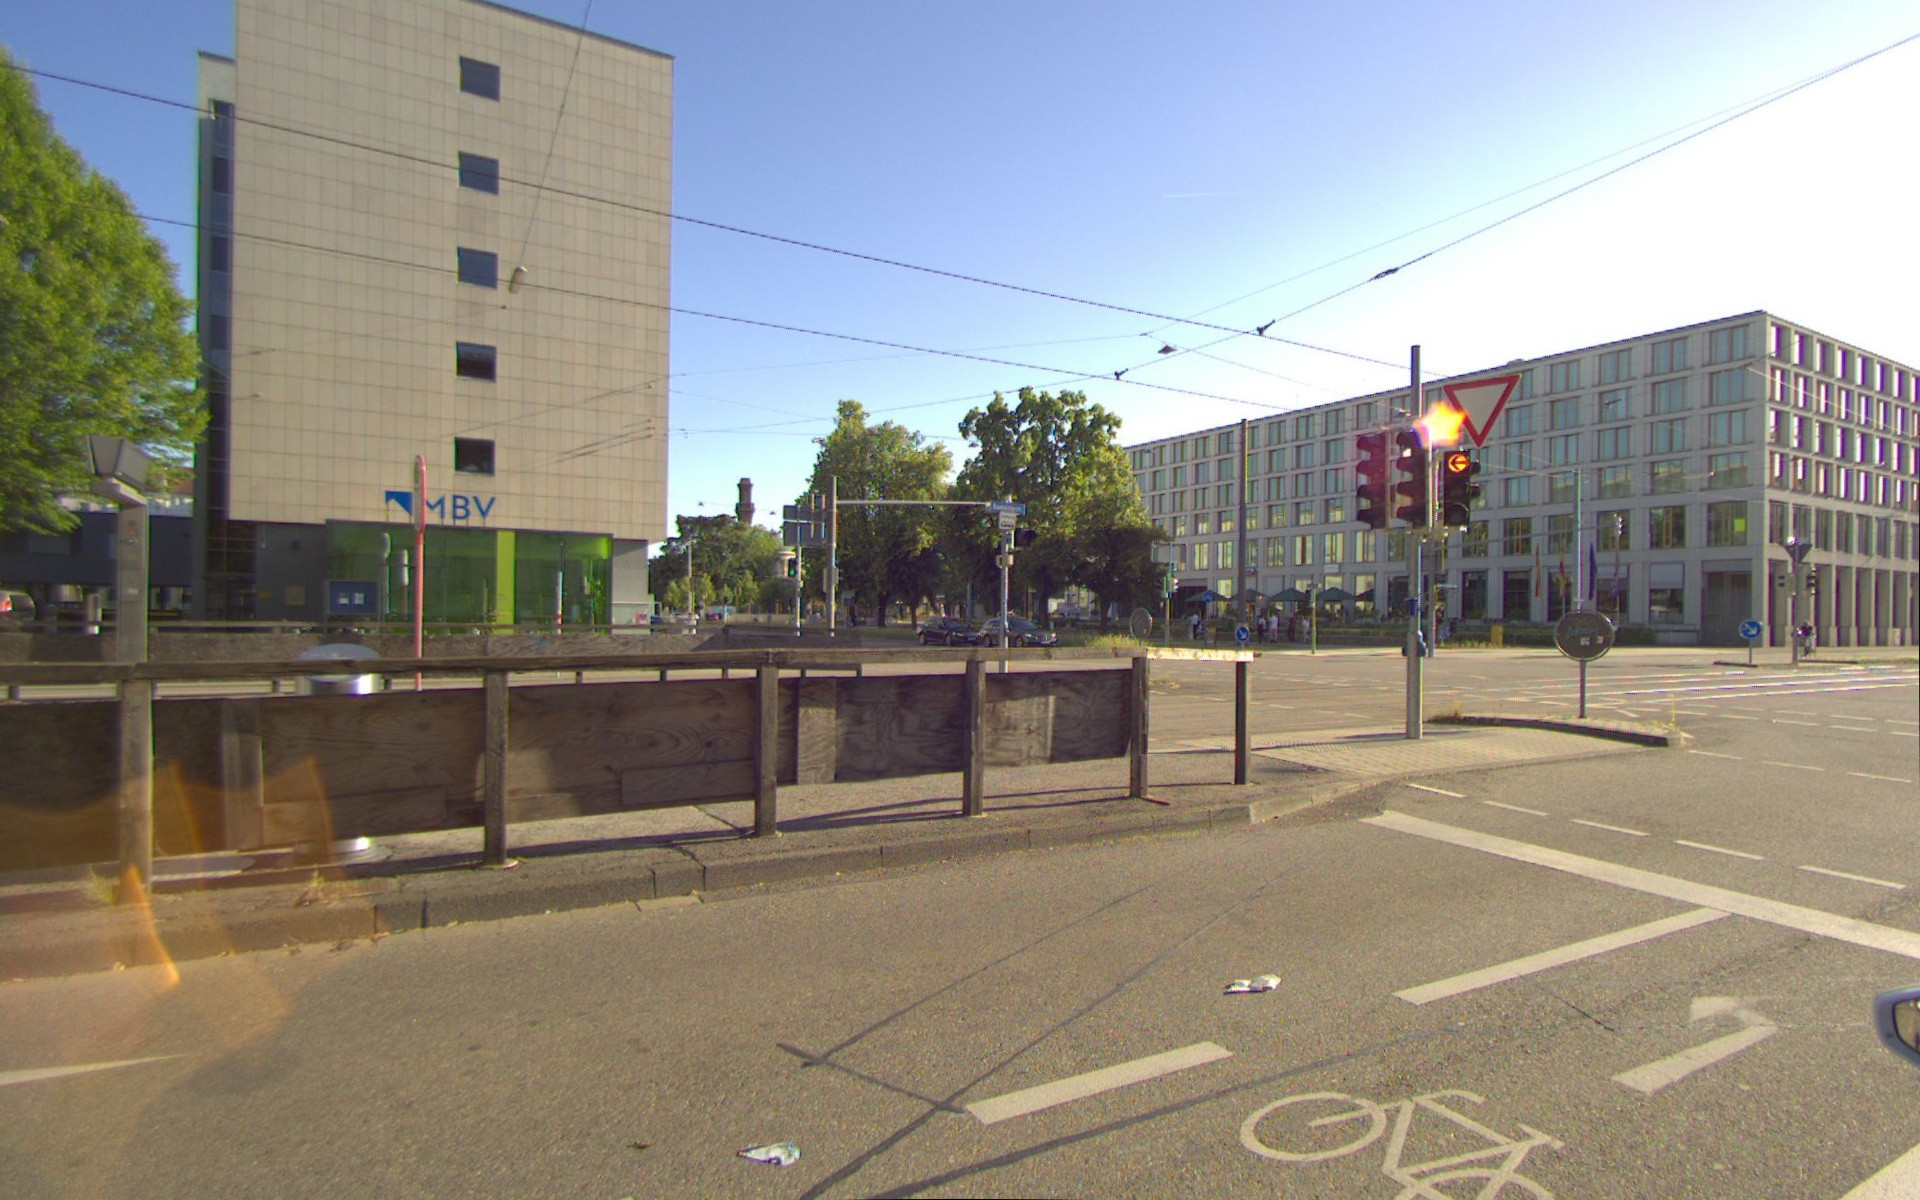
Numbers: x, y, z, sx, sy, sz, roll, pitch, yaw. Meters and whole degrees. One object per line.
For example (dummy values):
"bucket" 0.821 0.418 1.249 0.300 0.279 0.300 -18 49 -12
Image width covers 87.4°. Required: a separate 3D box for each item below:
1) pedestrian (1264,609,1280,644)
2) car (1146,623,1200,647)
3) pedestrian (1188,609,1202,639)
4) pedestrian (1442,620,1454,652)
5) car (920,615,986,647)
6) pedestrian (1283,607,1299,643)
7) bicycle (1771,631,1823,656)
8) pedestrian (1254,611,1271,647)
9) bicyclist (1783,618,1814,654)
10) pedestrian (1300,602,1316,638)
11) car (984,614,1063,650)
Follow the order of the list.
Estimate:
"pedestrian" 18.296 1.554 58.853 0.793 2.040 0.526 1 -1 -36
"car" 13.421 2.185 63.325 1.458 1.457 3.160 1 -1 -38
"pedestrian" 14.934 1.522 63.775 0.672 1.928 0.560 1 -1 -21
"pedestrian" 31.249 2.298 64.355 0.386 2.040 0.606 1 -1 -29
"car" -0.408 1.624 53.129 1.801 1.595 3.967 0 0 -31
"pedestrian" 19.241 1.454 58.320 0.793 2.040 0.526 1 -1 -36
"bicycle" 39.210 2.025 47.039 2.976 1.136 0.871 1 -1 -29
"pedestrian" 17.552 1.674 58.291 0.793 2.040 0.526 1 -1 -36
"bicyclist" 39.315 1.671 47.087 0.812 1.663 0.872 1 -1 -29
"pedestrian" 20.086 1.153 58.005 0.793 2.040 0.526 1 -1 -36
"car" 2.950 1.490 47.310 1.708 1.595 4.140 1 -1 -31
